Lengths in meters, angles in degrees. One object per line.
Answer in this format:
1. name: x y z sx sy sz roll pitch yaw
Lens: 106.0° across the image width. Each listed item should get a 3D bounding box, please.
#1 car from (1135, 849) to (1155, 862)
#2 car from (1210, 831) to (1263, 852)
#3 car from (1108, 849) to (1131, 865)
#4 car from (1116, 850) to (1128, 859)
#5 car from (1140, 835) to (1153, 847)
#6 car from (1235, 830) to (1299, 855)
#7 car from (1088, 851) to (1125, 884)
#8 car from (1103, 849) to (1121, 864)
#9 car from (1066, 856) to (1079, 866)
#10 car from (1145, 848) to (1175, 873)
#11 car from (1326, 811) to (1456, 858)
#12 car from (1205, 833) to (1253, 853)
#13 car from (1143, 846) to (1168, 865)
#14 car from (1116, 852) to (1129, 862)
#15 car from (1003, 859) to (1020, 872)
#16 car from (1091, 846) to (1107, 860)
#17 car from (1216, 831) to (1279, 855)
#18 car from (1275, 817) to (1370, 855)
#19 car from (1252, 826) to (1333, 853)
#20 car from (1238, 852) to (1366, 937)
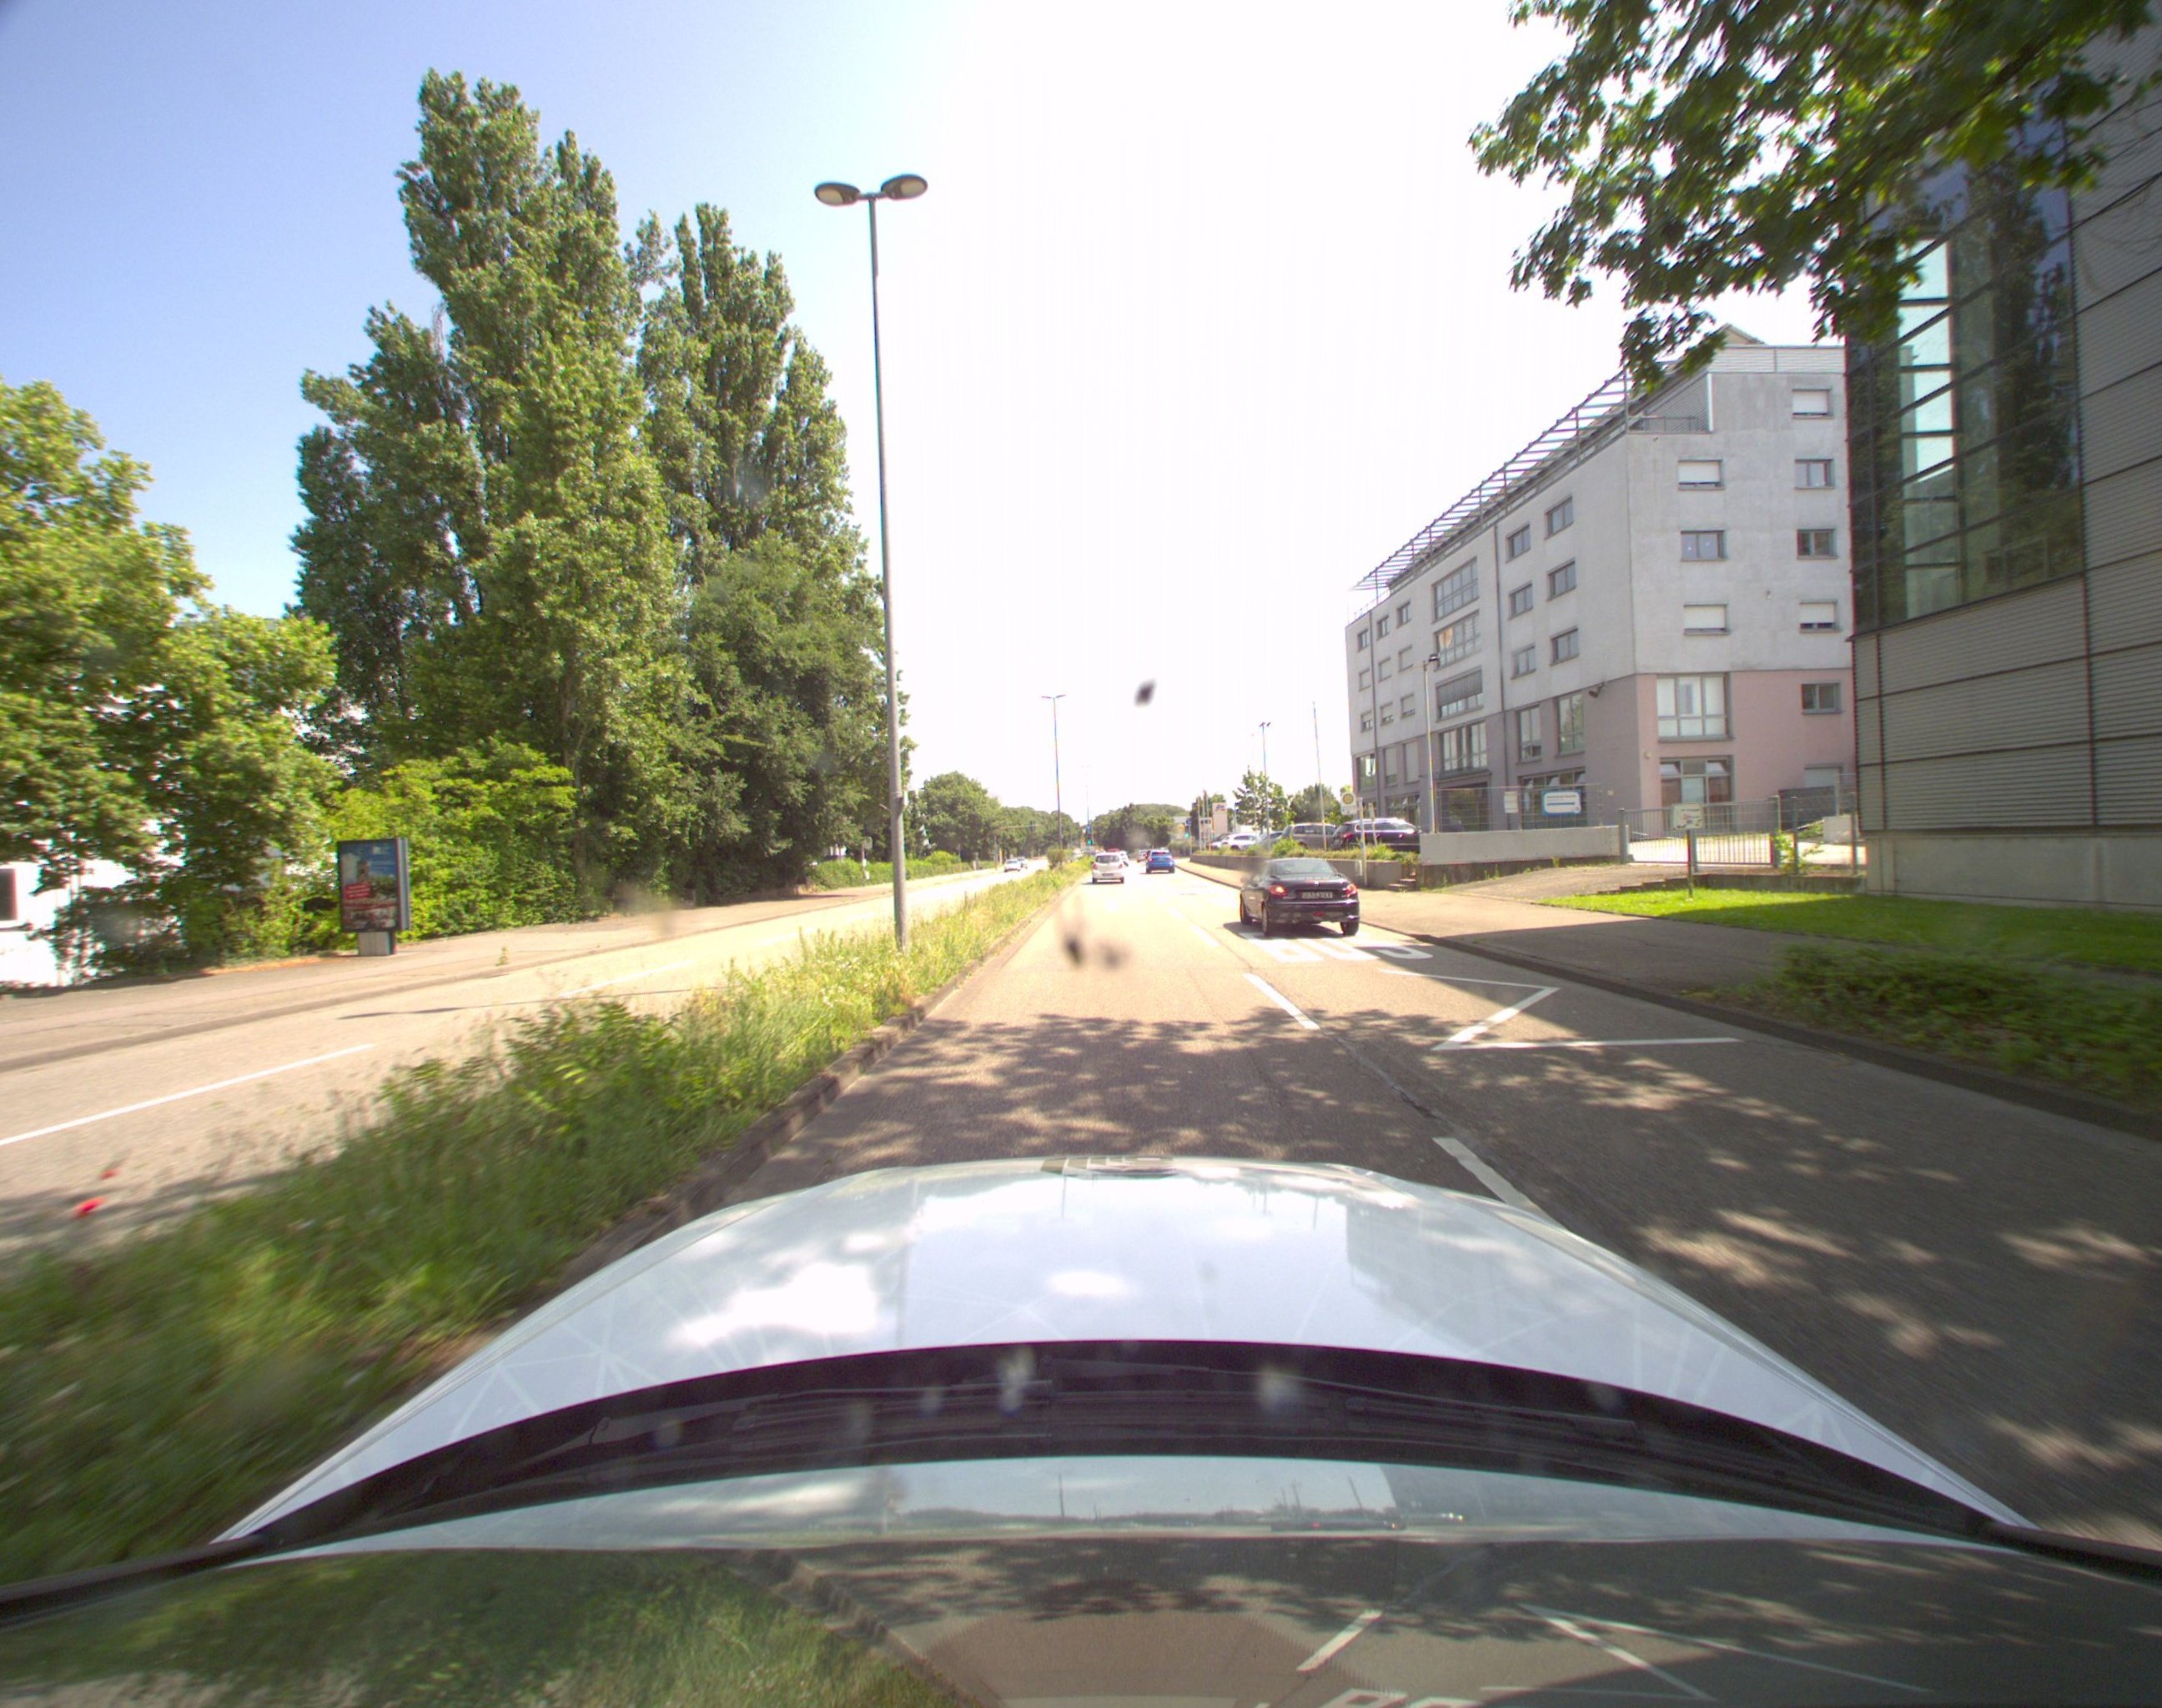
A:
1. car: 7.501 0.201 95.512 1.986 1.420 4.001 -3 0 1
2. car: 13.784 -1.121 72.342 4.333 1.544 2.000 -3 0 -1
3. car: 3.664 0.283 78.099 1.986 1.442 4.001 -3 0 1
4. car: 6.877 0.099 137.465 1.785 1.477 3.848 -3 0 1
5. car: 11.561 -2.342 143.579 1.765 2.013 3.988 -3 1 -2
6. car: 12.701 -0.809 55.623 3.935 1.452 1.753 -3 0 -20
7. car: 1.343 0.637 41.443 1.741 1.520 3.749 -1 1 3
8. car: 3.716 0.302 98.353 1.771 1.740 3.997 -3 0 -1
9. car: -1.250 0.959 114.835 1.570 1.269 3.725 -3 0 -3
10. car: 5.320 0.415 55.429 1.820 1.580 3.608 -2 1 3
11. car: 12.553 -0.771 33.147 4.484 1.583 2.000 -3 0 0
12. car: 13.626 -0.992 75.060 3.975 1.544 2.000 -3 0 -1
13. car: 6.792 0.120 74.877 1.986 1.640 4.001 -3 0 1
14. car: 7.016 0.497 137.976 1.986 1.508 4.001 -3 0 1
15. car: -7.917 1.290 93.293 1.732 1.413 4.368 -3 0 -2
16. car: 2.300 -0.138 104.452 1.815 1.661 3.997 -3 1 -2
17. car: 12.983 -0.842 63.786 4.519 1.544 2.001 -3 0 1
18. car: 12.366 -0.893 41.891 4.212 1.647 2.000 -3 0 0
19. car: 12.687 -0.853 49.056 4.306 1.368 2.000 -3 0 0
20. car: 4.099 0.688 15.632 1.621 1.364 3.608 -1 1 2
